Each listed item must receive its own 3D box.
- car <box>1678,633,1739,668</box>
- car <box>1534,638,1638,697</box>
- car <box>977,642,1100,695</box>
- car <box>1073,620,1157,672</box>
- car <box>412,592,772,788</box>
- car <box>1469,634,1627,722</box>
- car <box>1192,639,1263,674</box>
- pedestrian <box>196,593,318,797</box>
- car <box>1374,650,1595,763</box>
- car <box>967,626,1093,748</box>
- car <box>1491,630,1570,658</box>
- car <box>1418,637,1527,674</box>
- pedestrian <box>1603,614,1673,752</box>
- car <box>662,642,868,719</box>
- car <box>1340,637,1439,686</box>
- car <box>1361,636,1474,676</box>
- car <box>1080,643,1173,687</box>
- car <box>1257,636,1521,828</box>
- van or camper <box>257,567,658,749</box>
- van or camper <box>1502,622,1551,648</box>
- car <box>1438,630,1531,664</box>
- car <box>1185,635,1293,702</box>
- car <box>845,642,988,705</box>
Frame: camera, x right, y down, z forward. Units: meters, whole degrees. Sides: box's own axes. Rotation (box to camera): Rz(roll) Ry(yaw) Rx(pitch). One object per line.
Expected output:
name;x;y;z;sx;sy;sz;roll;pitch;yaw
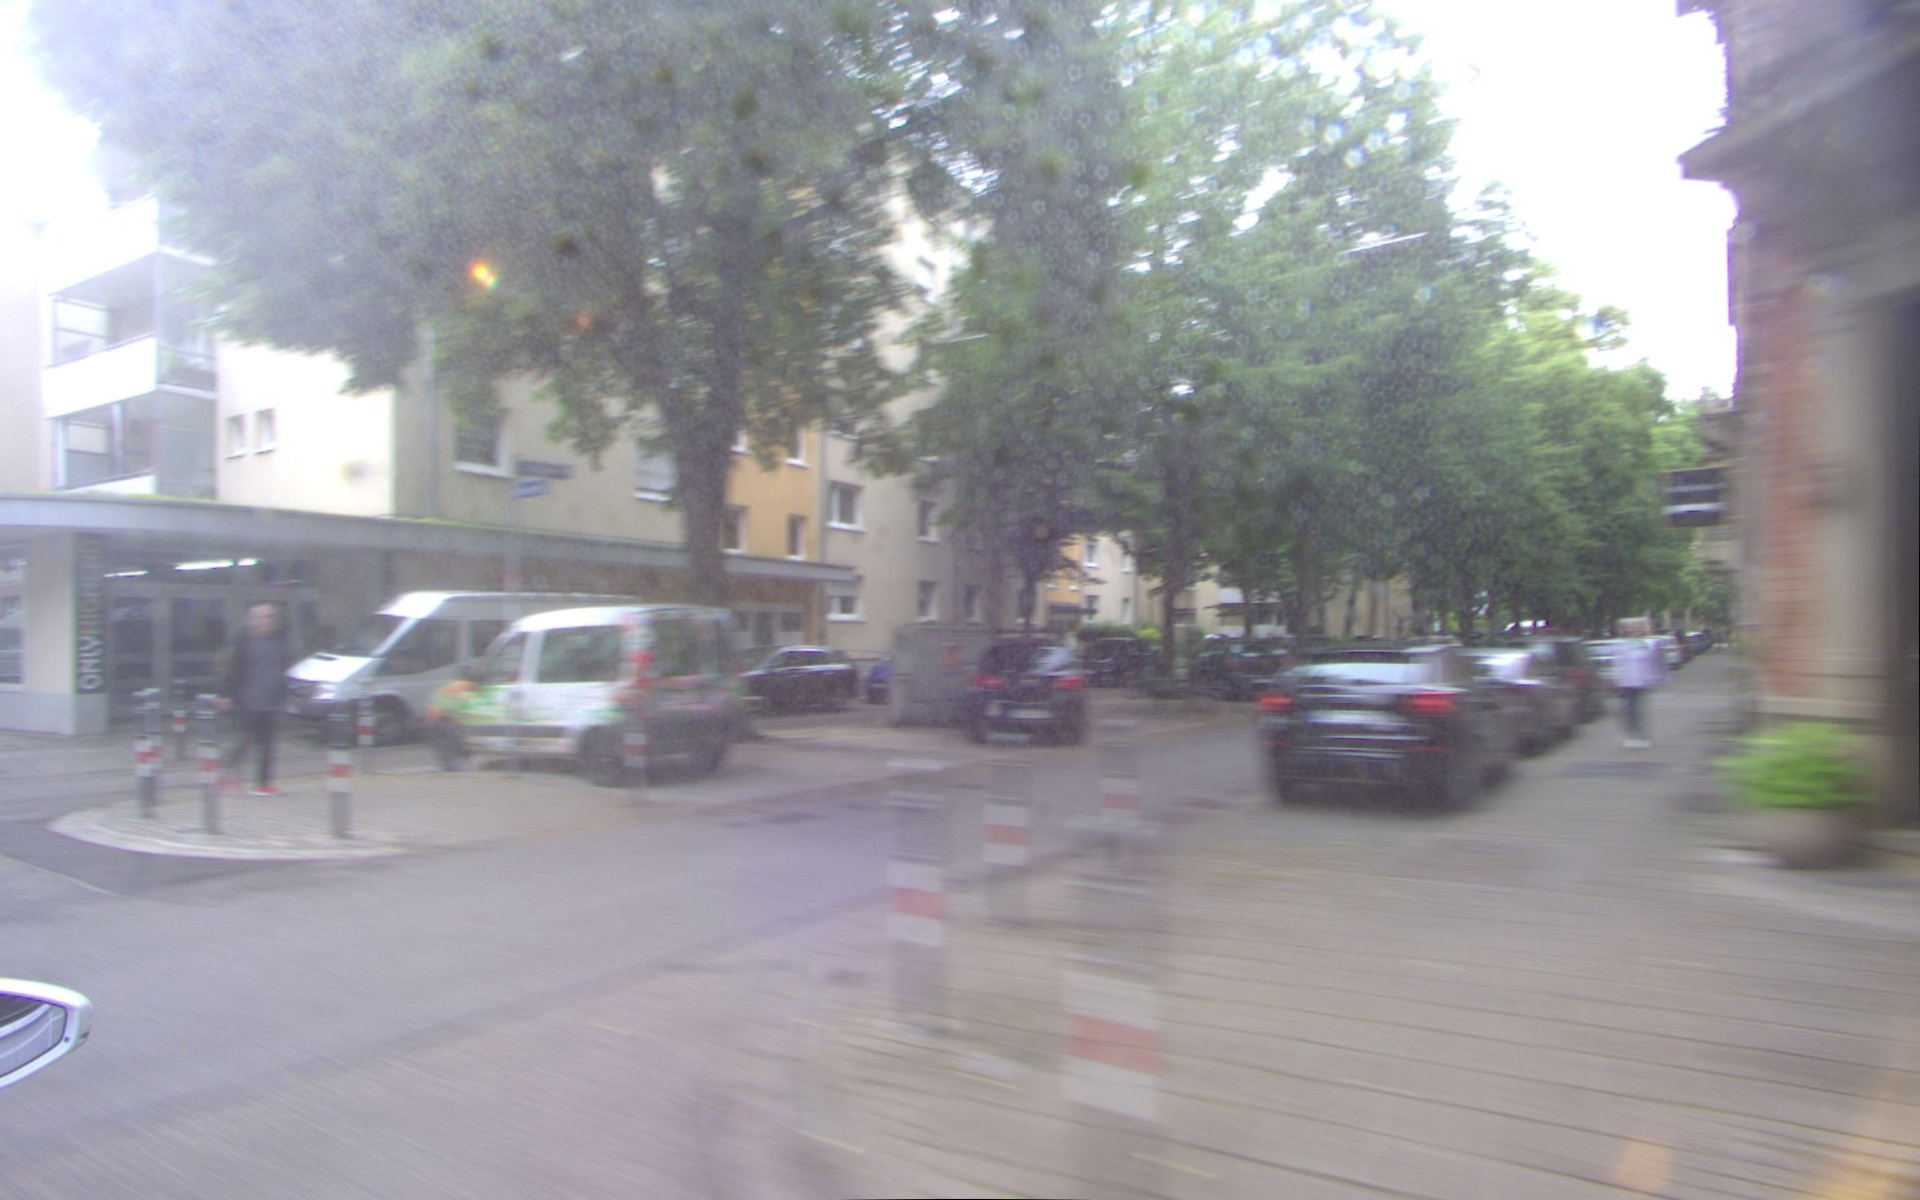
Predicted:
car;34.028;2.266;45.509;1.977;1.515;4.299;-1;-2;40
car;17.460;1.846;27.856;1.824;1.514;4.242;-4;-4;40
car;2.402;1.997;29.986;1.755;1.436;3.971;-1;-2;39
car;6.465;1.895;41.564;1.973;2.039;3.978;-1;-2;34
car;-4.179;0.905;11.232;3.943;1.842;1.767;-1;-2;32
car;11.763;1.491;19.910;1.978;1.552;4.300;-4;-4;40
car;11.072;2.336;41.387;1.492;1.385;3.495;-3;-5;40
pedestrian;-6.582;0.863;9.393;0.502;1.820;0.778;0;-2;31
car;7.832;1.462;14.754;1.978;1.371;4.300;-4;-4;40
car;0.989;1.232;15.420;1.652;1.601;3.954;1;-2;1
car;33.384;2.551;58.713;1.708;1.631;3.995;0;-2;-16
car;20.788;2.210;40.818;1.708;1.408;3.995;0;-2;-16
pedestrian;8.832;1.076;13.041;0.557;1.727;0.743;-6;-4;41
car;-4.134;1.668;21.783;1.885;1.446;4.148;-1;-2;41
car;13.994;1.954;32.834;1.632;1.482;4.002;0;-2;2
car;17.200;2.061;37.867;1.708;1.408;3.995;0;-2;-16
car;5.599;2.174;33.360;1.492;1.385;3.495;-3;-5;40
car;4.499;1.166;10.184;1.639;1.559;3.811;-3;-3;36
van or camper;-8.203;0.858;17.031;2.107;2.528;5.755;3;0;35
van or camper;67.618;4.198;119.531;4.963;3.073;1.993;-1;-2;27
car;25.313;2.253;48.441;1.708;1.550;3.995;0;-2;-16
car;6.715;1.606;24.486;1.632;1.482;4.002;0;-2;2
car;-1.068;1.829;25.749;1.613;1.446;3.678;-1;-2;41
